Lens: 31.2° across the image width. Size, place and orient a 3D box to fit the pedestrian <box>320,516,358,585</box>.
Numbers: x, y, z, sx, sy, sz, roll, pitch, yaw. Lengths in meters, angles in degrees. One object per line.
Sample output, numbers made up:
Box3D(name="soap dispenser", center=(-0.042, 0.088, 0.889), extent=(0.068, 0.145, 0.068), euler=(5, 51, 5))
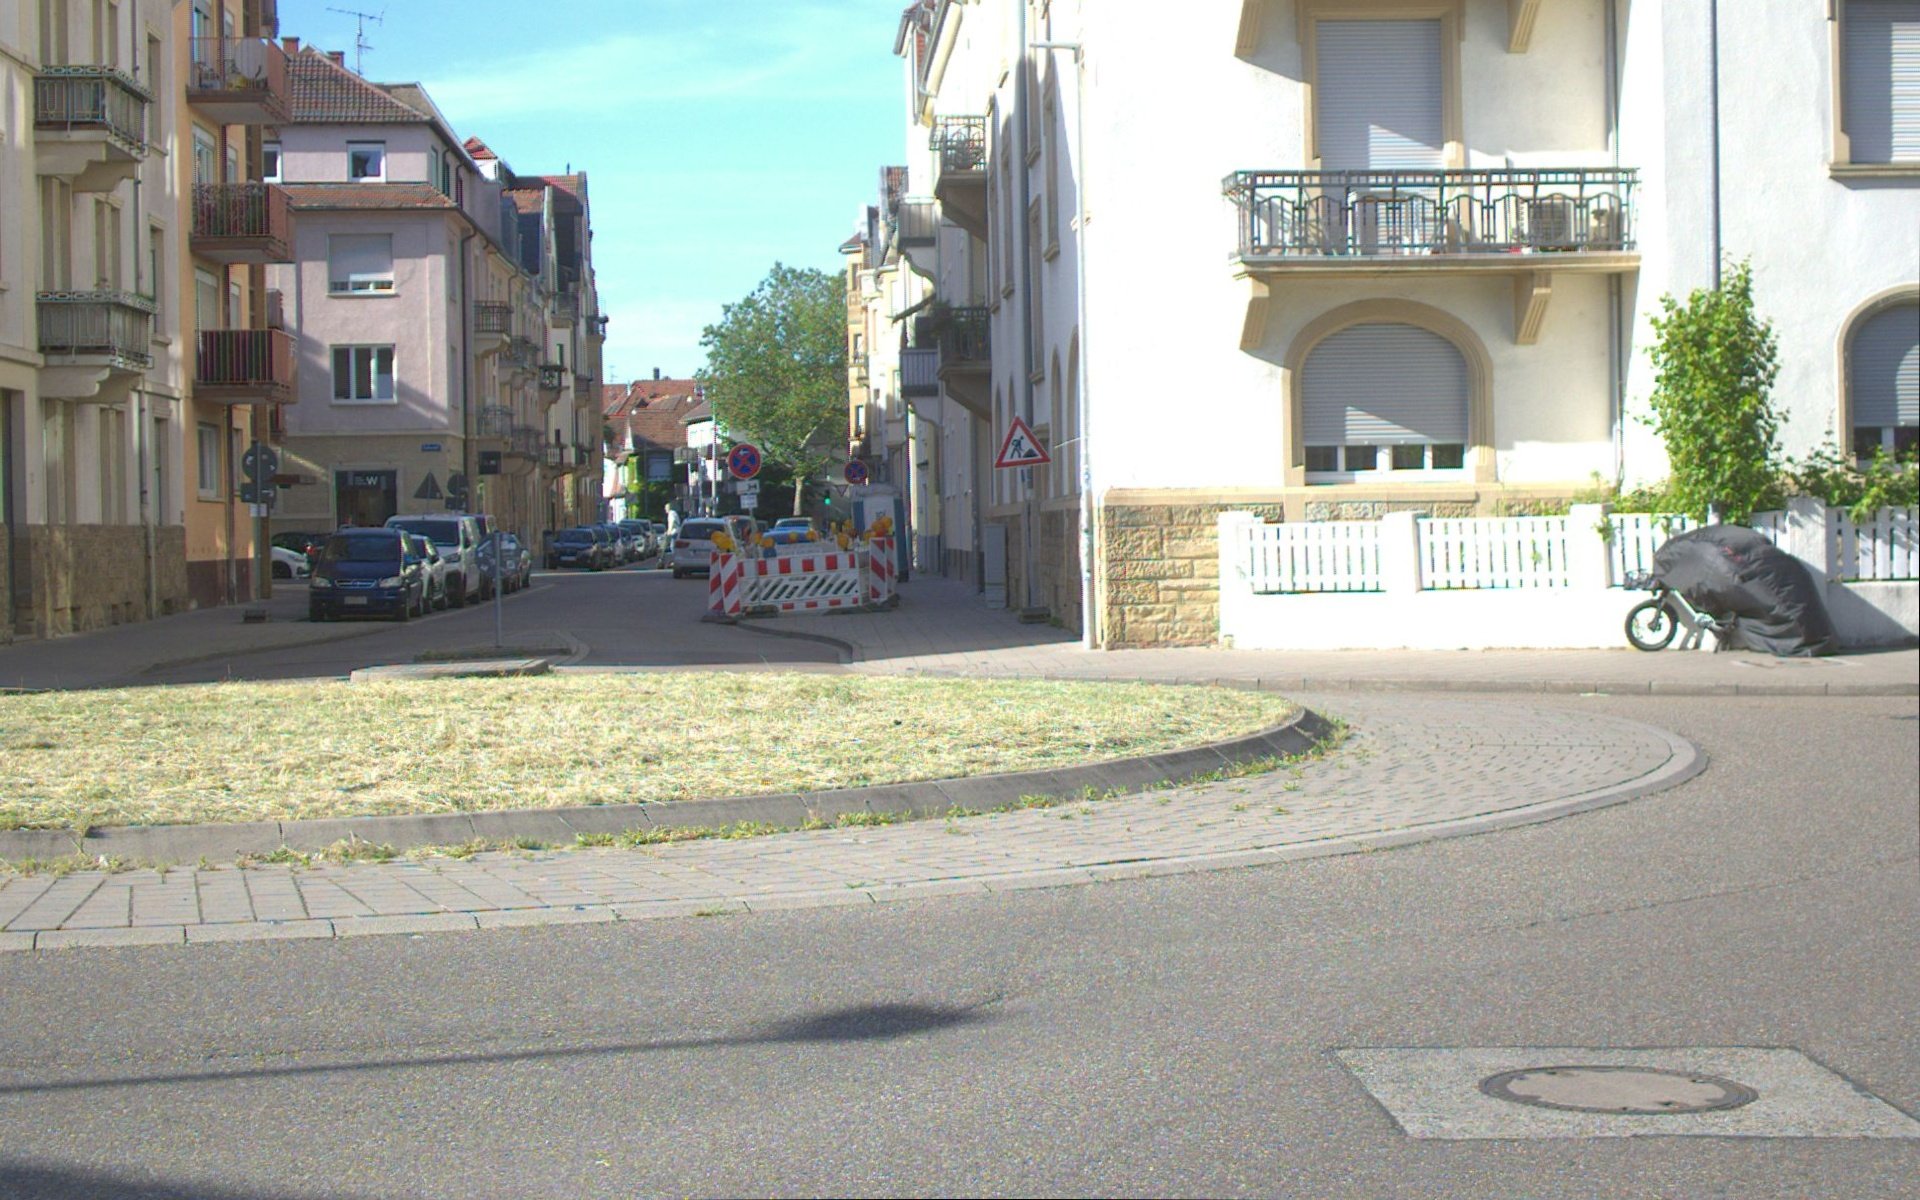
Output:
Box3D(name="pedestrian", center=(-16.439, -1.318, 91.046), extent=(0.923, 1.811, 0.995), euler=(0, 1, -6))

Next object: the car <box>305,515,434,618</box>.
Box3D(name="car", center=(-10.379, -0.615, 60.653), extent=(1.762, 1.765, 4.295), euler=(0, 1, -3))

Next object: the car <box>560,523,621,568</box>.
Box3D(name="car", center=(-13.613, -1.991, 126.744), extent=(2.003, 1.577, 4.488), euler=(1, 0, -4))

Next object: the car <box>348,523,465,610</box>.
Box3D(name="car", center=(-10.625, -0.671, 66.229), extent=(1.762, 1.615, 4.295), euler=(0, 1, -3))

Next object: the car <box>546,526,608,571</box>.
Box3D(name="car", center=(-12.939, -1.728, 116.283), extent=(1.679, 1.421, 4.274), euler=(1, 0, -1))

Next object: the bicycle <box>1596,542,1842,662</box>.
Box3D(name="bicycle", center=(7.512, 0.003, 34.091), extent=(2.284, 1.153, 0.765), euler=(1, 1, 40))

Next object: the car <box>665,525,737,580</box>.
Box3D(name="car", center=(-7.350, -1.337, 97.715), extent=(1.838, 1.426, 4.029), euler=(-2, 0, -2))

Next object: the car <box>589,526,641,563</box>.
Box3D(name="car", center=(-14.331, -2.305, 143.000), extent=(1.978, 1.477, 4.329), euler=(1, 0, -4))

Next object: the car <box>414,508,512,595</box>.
Box3D(name="car", center=(-11.261, -1.124, 78.185), extent=(1.762, 1.918, 4.936), euler=(0, 1, -3))

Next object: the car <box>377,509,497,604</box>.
Box3D(name="car", center=(-10.860, -0.934, 71.734), extent=(1.975, 1.918, 5.310), euler=(0, 1, -3))
